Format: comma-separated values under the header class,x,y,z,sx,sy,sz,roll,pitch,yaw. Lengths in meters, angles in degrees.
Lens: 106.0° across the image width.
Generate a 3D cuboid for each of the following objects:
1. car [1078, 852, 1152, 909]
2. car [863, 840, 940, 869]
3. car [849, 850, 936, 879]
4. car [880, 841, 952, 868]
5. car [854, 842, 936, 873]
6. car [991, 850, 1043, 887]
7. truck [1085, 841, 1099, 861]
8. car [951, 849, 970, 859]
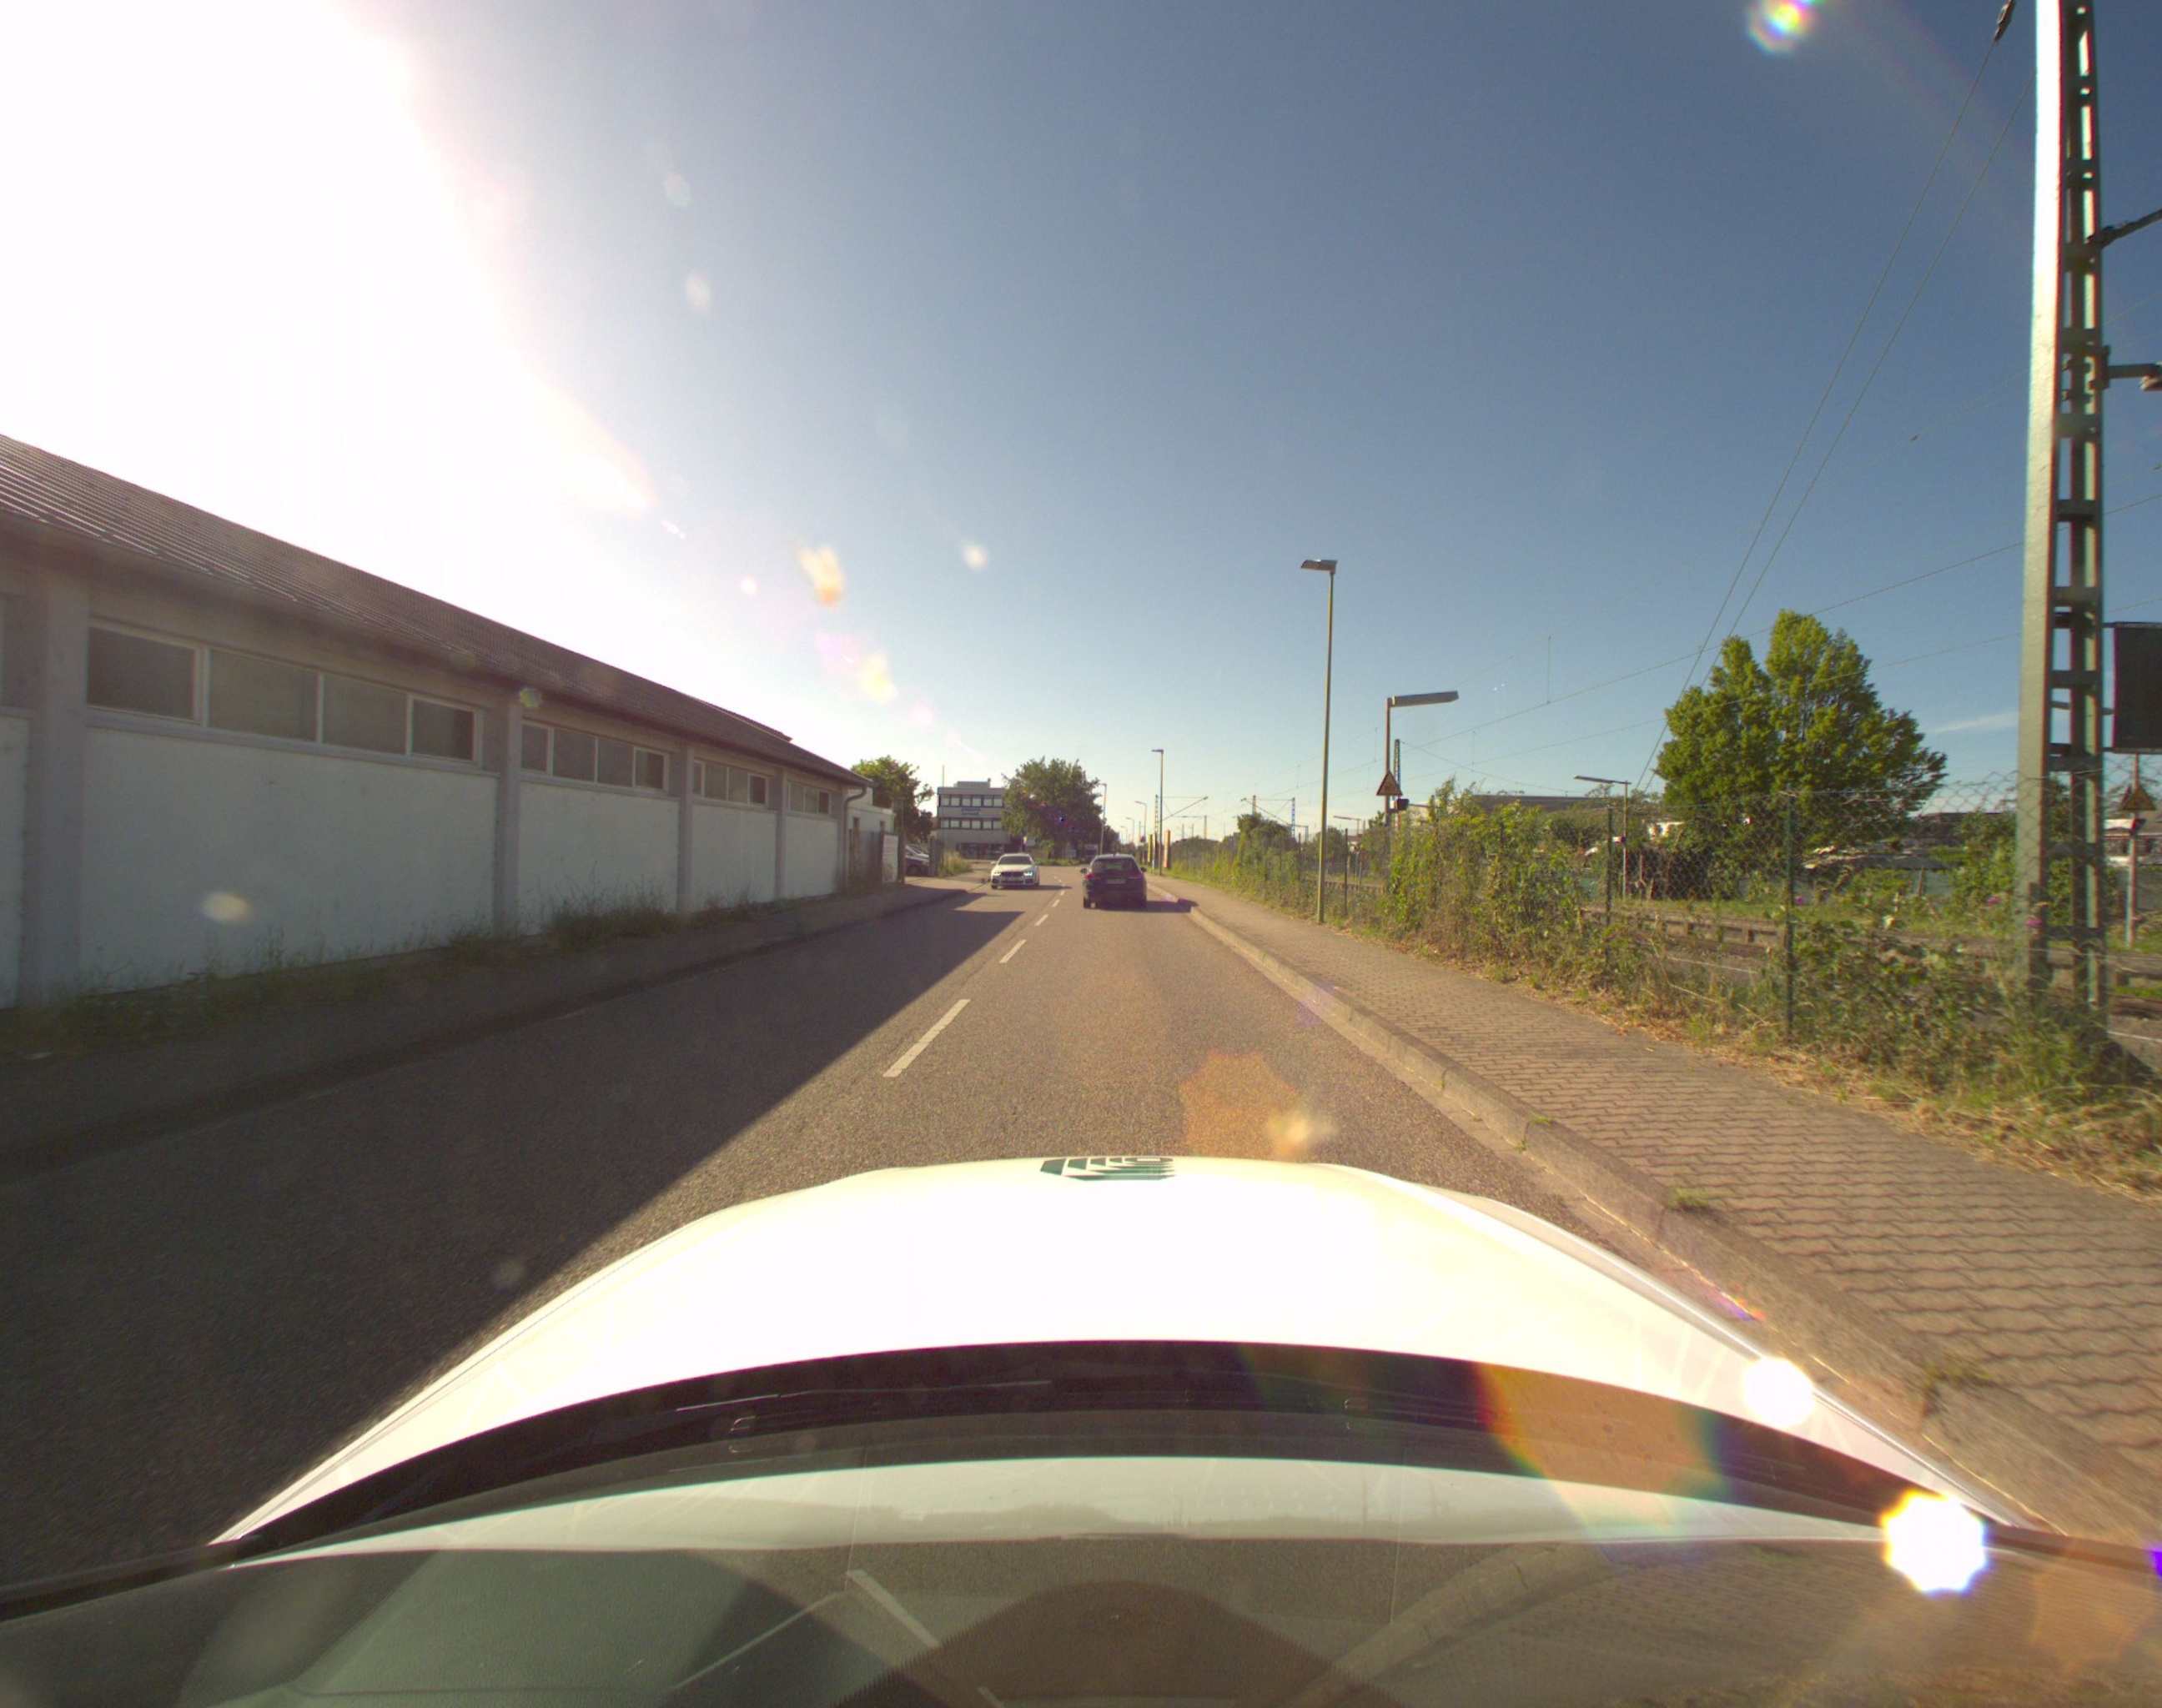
class,x,y,z,sx,sy,sz,roll,pitch,yaw
car,0.963,0.693,23.779,1.935,1.489,4.567,0,0,1
car,-10.668,0.010,48.678,4.391,1.648,1.834,1,0,-11
car,-10.096,0.552,43.806,4.387,1.507,1.835,1,0,-9
car,-10.471,0.026,51.644,4.395,1.648,1.832,1,0,-14
car,-10.500,0.199,46.324,4.387,1.648,1.835,1,0,-9
car,-2.746,0.590,35.723,1.802,1.478,4.689,-1,0,1
truck,2.165,-0.597,164.119,2.604,3.885,13.530,2,0,0
car,-19.480,-0.068,131.629,1.984,1.484,4.933,1,1,5
